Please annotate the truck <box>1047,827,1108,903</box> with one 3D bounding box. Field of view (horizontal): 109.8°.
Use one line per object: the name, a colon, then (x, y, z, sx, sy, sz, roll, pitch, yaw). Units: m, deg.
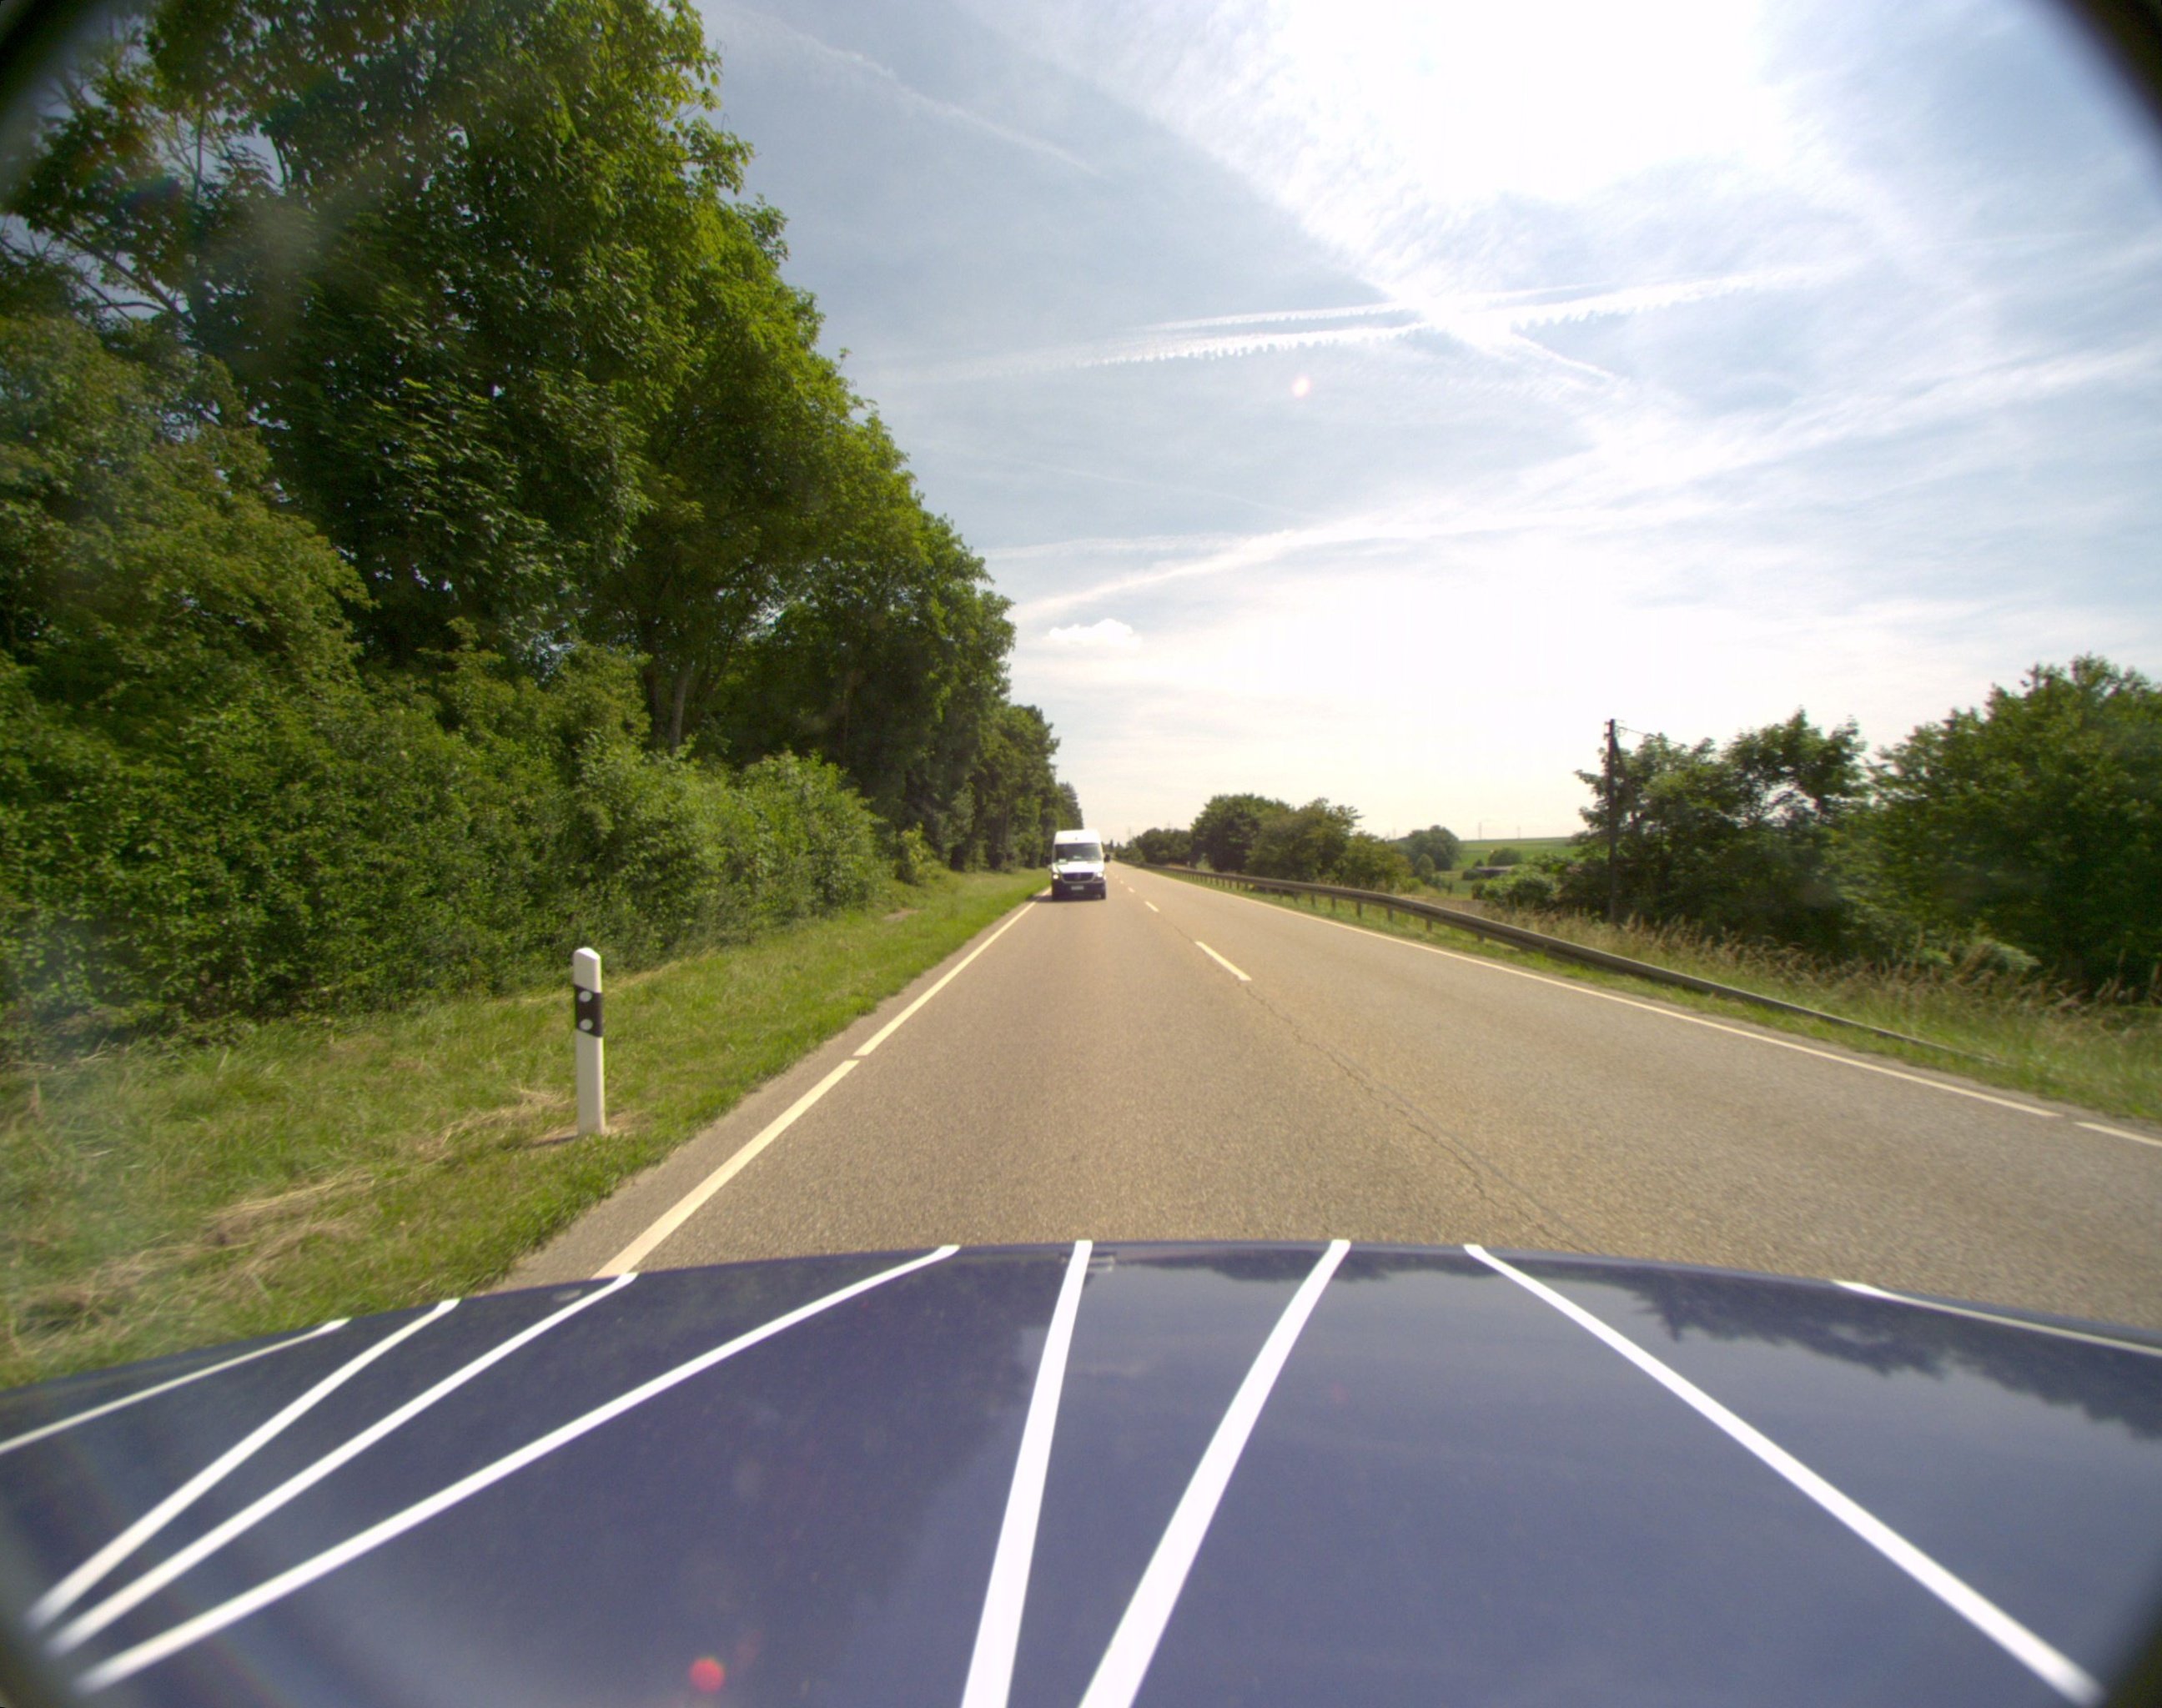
truck: (-0.013, 0.375, 29.978, 2.022, 2.567, 7.226, -2, 0, 2)
